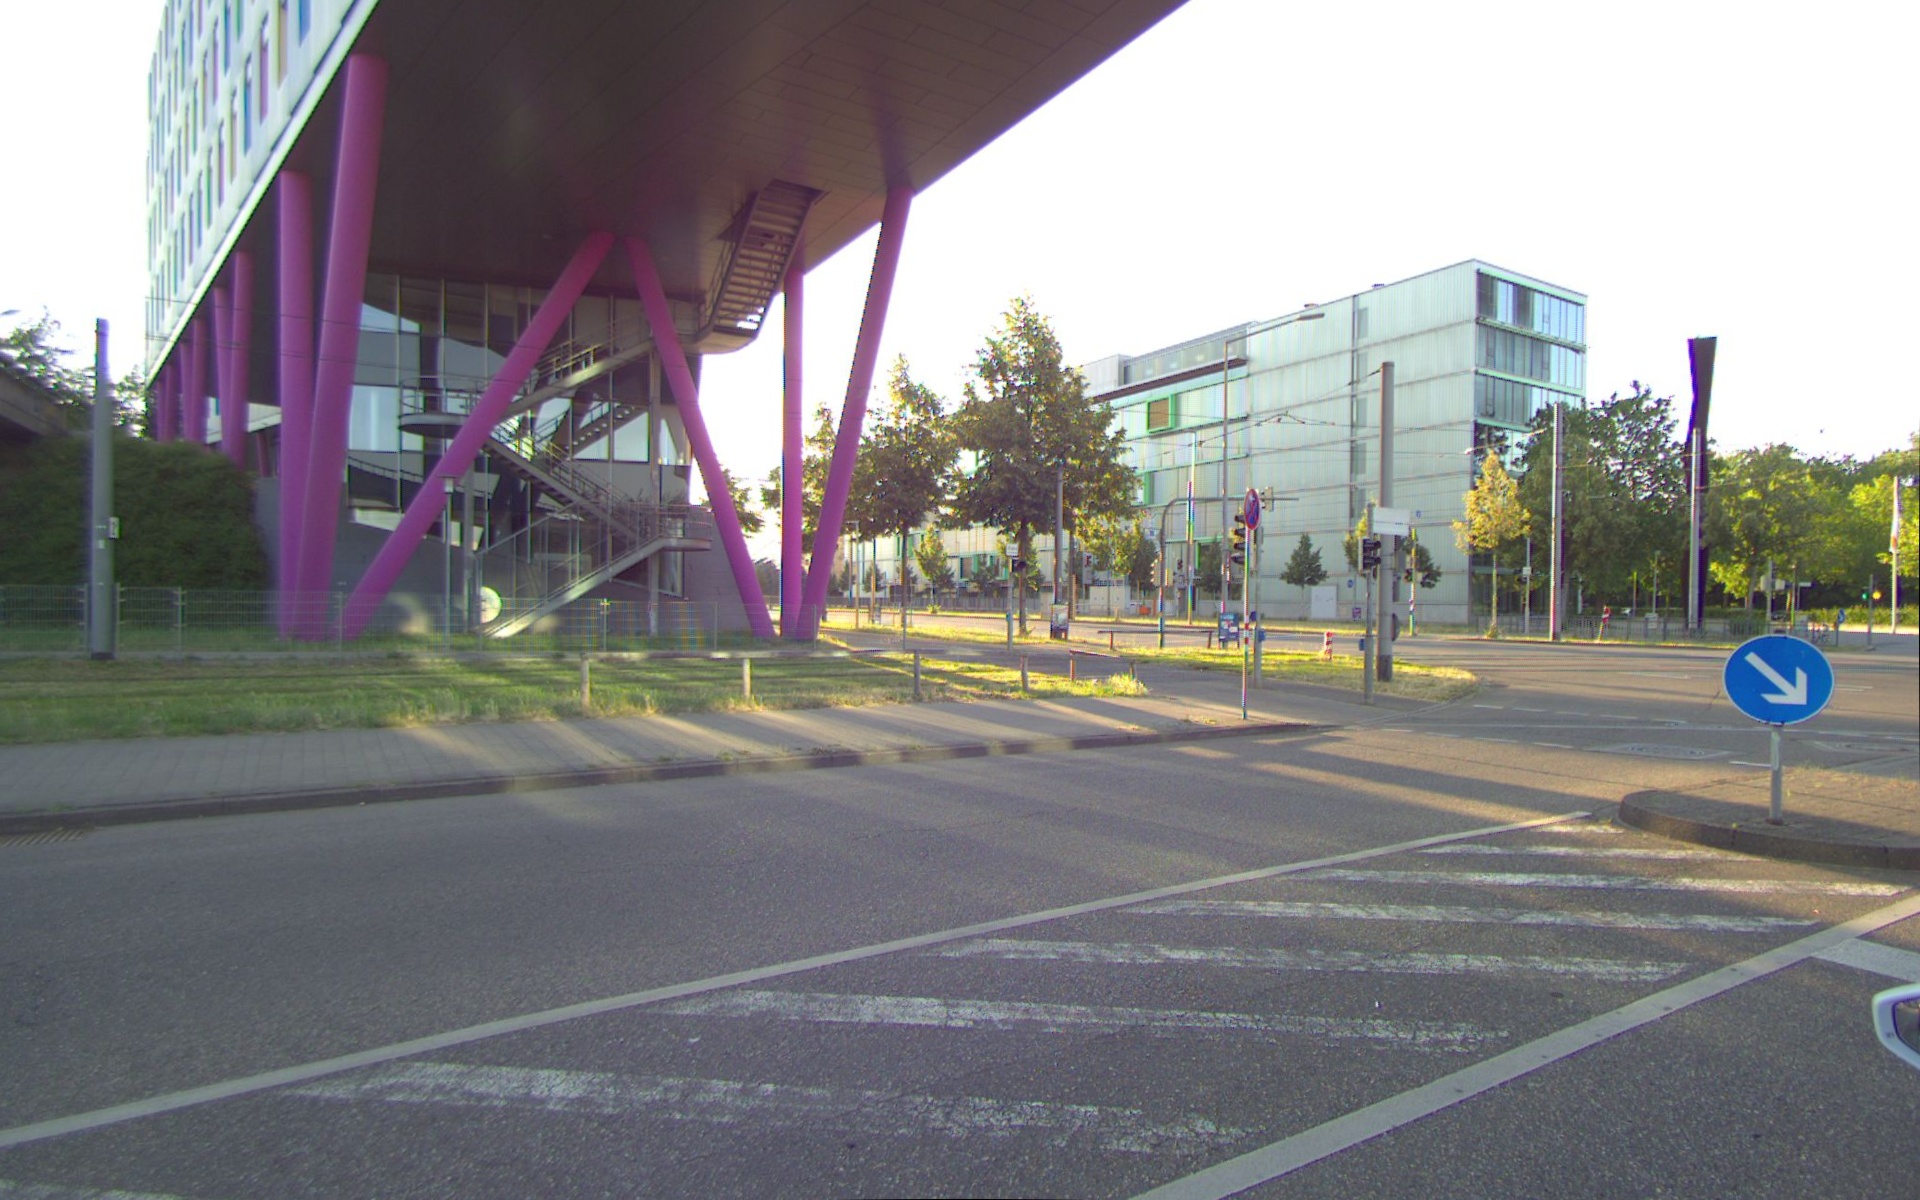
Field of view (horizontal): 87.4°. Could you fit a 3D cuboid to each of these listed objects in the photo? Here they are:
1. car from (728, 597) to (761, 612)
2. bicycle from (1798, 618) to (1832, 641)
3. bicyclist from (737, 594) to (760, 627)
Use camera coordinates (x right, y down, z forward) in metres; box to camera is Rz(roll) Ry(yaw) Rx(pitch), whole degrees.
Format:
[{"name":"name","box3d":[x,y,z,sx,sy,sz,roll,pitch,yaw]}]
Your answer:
[{"name":"car","box3d":[-21.246,0.419,98.965,1.979,1.439,3.964,1,0,-33]},{"name":"bicycle","box3d":[44.231,1.495,51.963,2.367,1.151,0.695,1,0,-33]},{"name":"bicyclist","box3d":[-10.604,0.524,50.274,0.798,1.655,1.278,1,0,-29]}]
